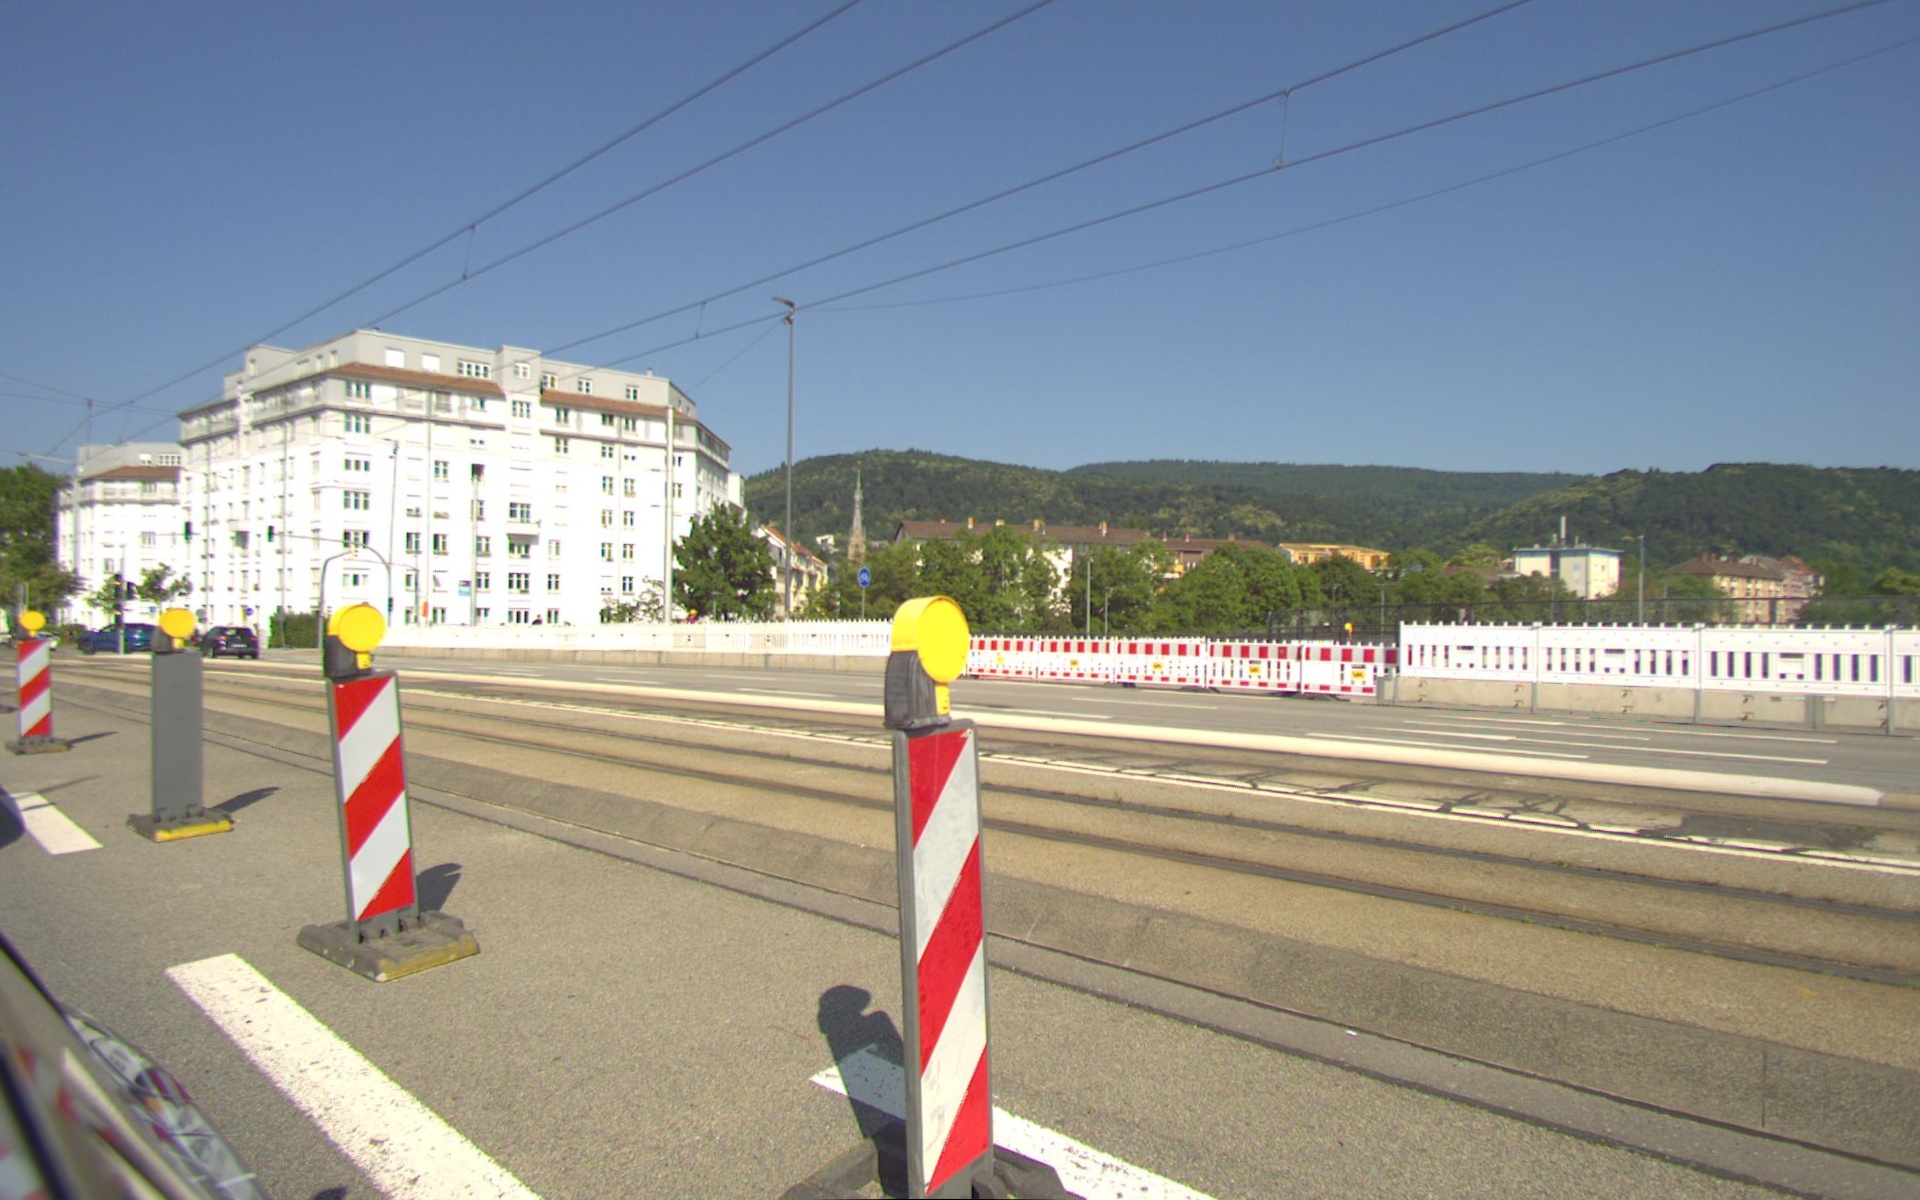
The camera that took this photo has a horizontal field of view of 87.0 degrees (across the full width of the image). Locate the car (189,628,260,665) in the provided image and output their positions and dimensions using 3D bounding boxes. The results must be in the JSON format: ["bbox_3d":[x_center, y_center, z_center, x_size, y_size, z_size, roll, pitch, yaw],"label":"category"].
[{"bbox_3d":[-32.178,2.055,44.241,3.999,1.497,1.777,-4,-3,43],"label":"car"}]

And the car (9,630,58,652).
[{"bbox_3d":[-68.473,2.996,74.794,3.994,1.497,2.014,0,-1,38],"label":"car"}]

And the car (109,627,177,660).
[{"bbox_3d":[-40.988,2.162,50.731,3.999,1.497,2.012,0,-1,42],"label":"car"}]

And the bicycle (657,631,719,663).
[{"bbox_3d":[-11.093,1.890,41.232,3.070,1.204,0.847,0,0,41],"label":"bicycle"}]

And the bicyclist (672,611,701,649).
[{"bbox_3d":[-11.147,1.221,41.278,0.817,1.530,0.847,-1,0,40],"label":"bicyclist"}]
